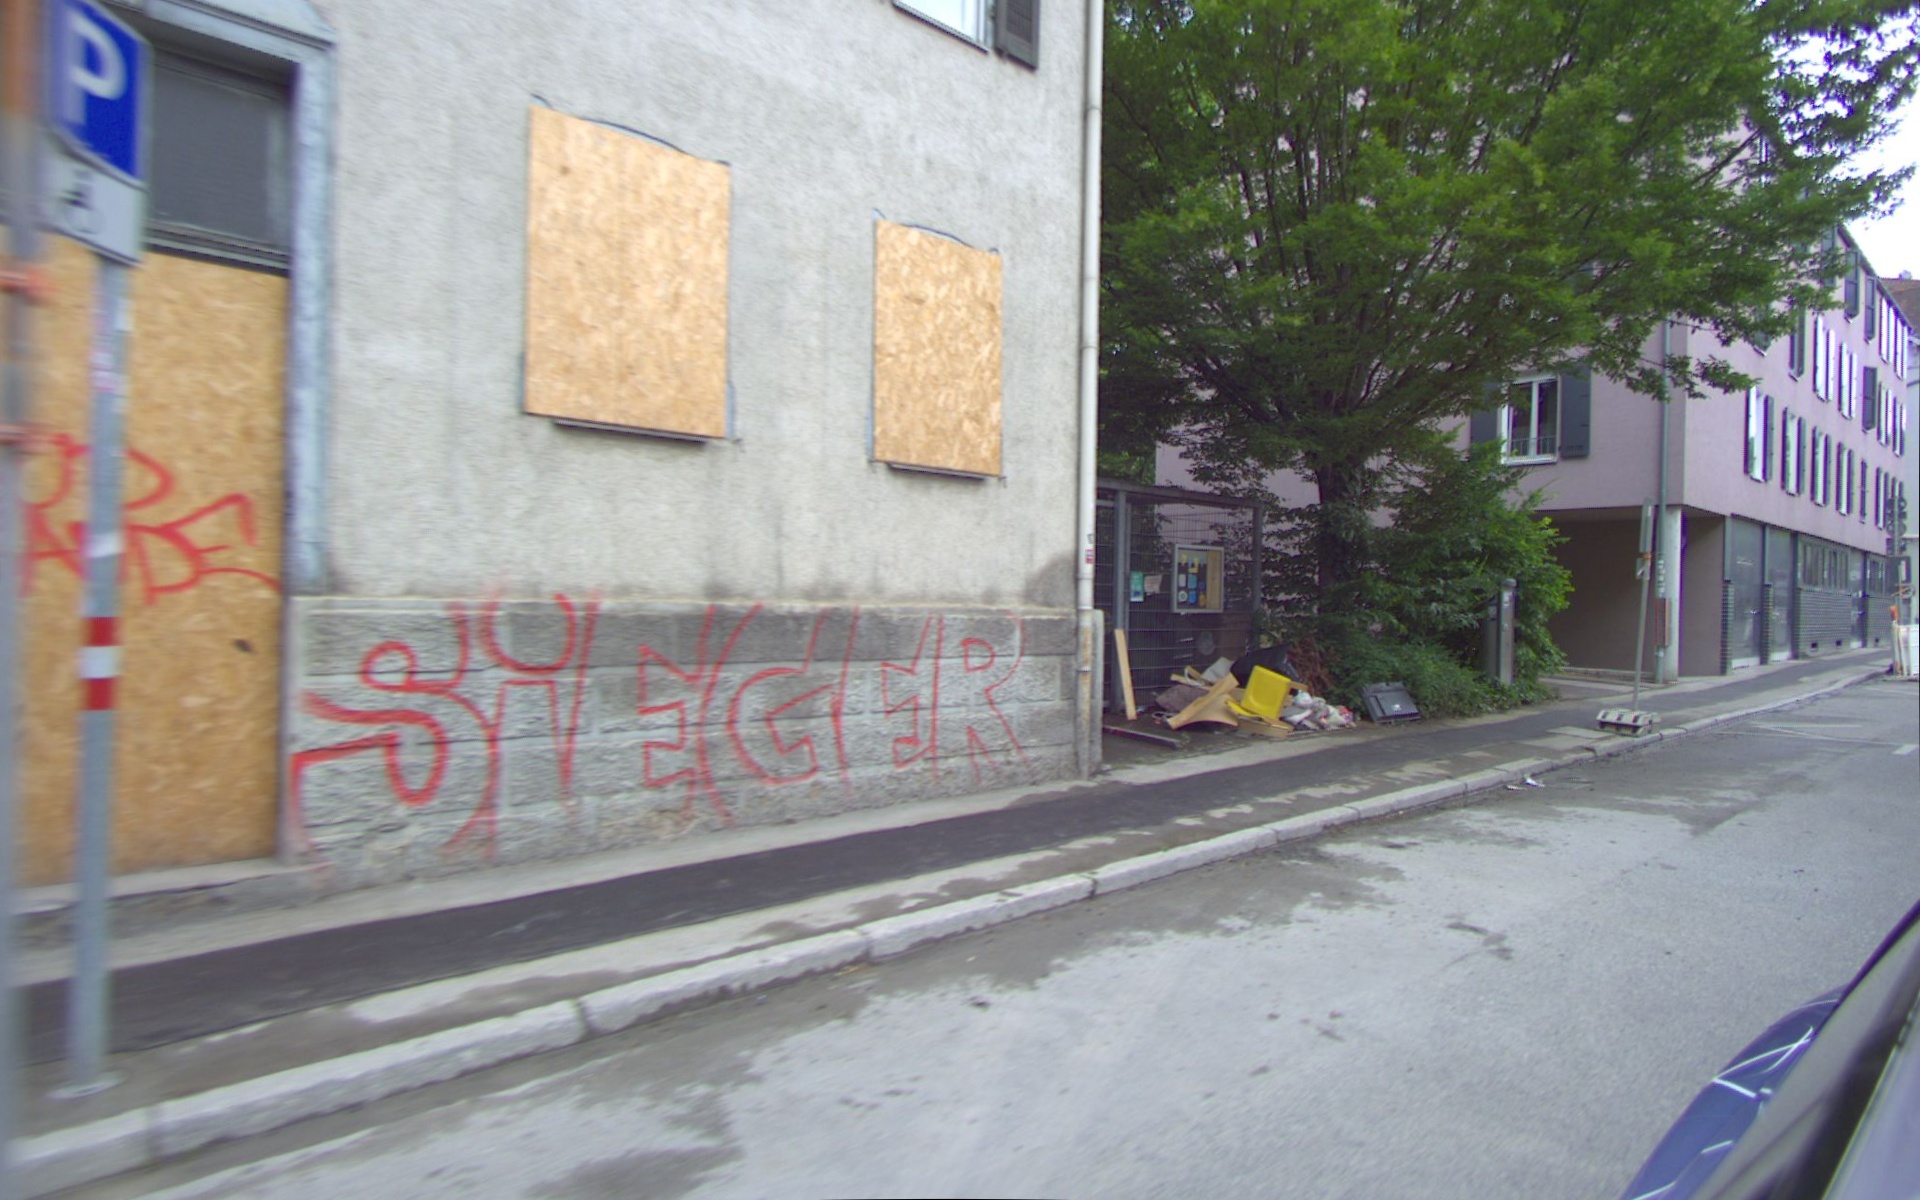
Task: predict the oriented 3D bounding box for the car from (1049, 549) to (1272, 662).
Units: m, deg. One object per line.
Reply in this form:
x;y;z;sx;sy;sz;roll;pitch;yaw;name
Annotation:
3.402;0.078;16.748;3.934;1.604;1.637;1;3;-45;car
